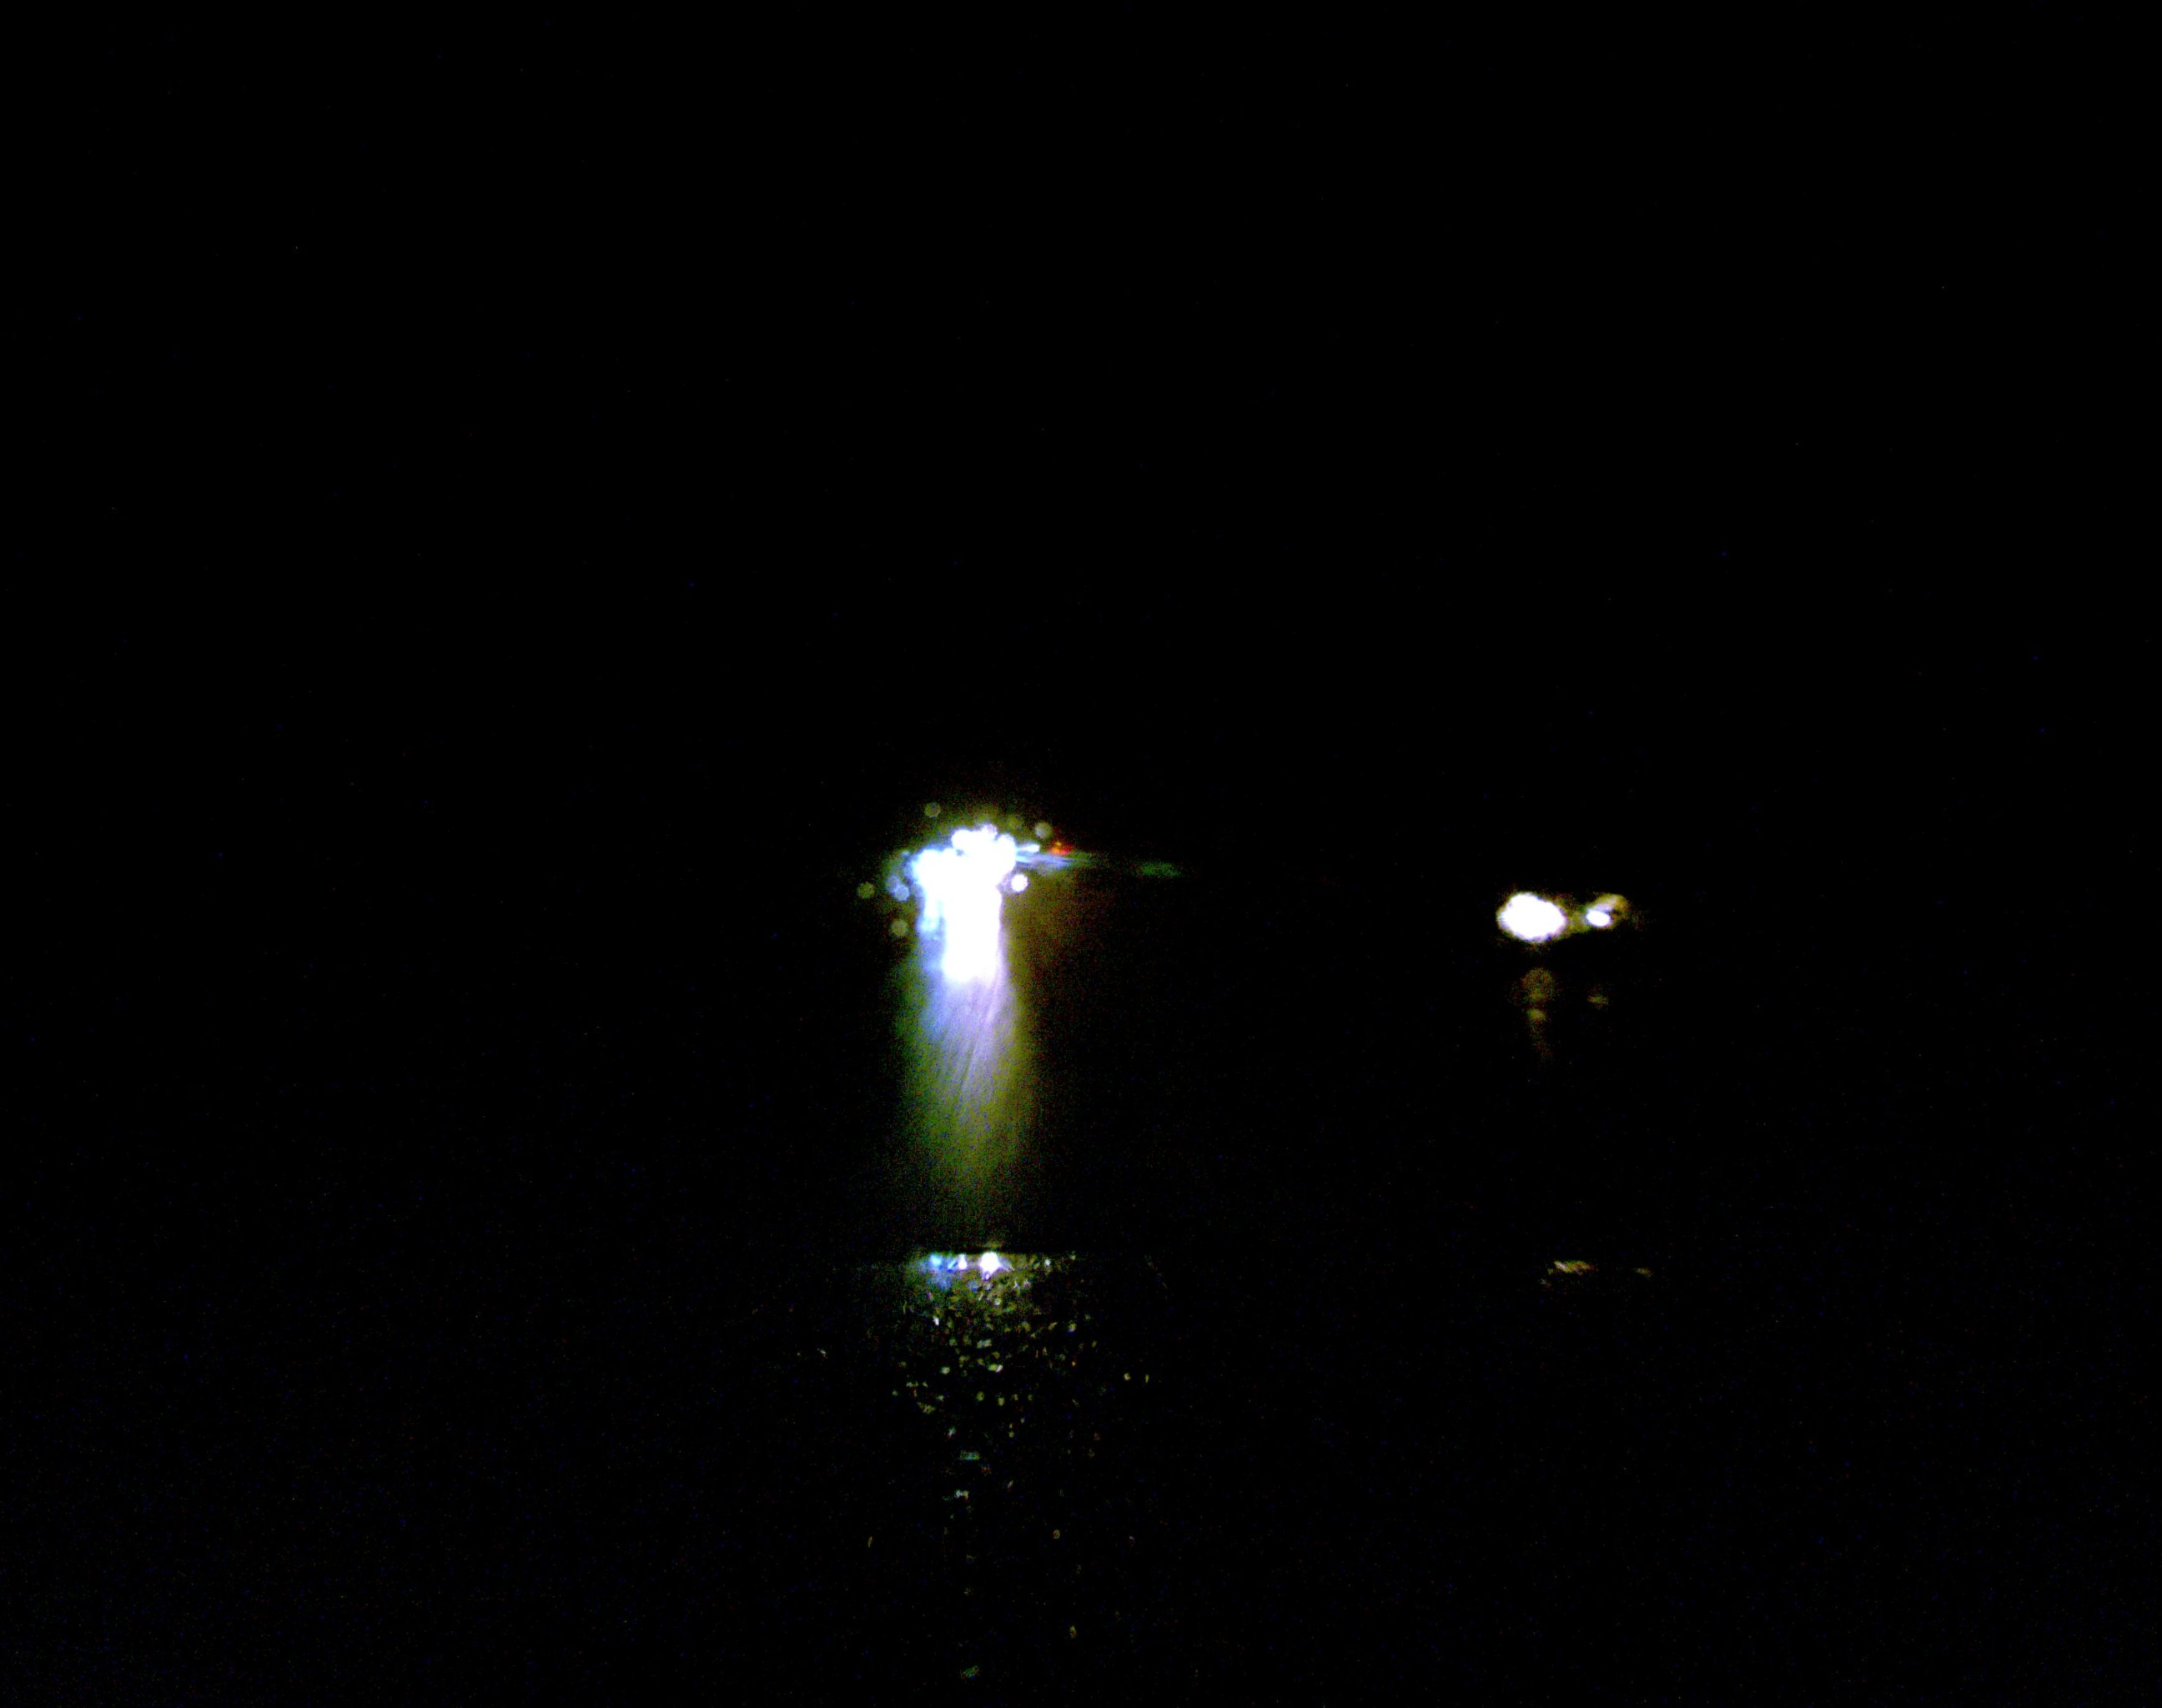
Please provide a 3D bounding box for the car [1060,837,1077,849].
[{"bbox_3d":[-2.192,-1.963,133.527,2.001,2.002,4.803,1,2,-12],"label":"car"}]

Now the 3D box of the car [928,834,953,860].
[{"bbox_3d":[-12.349,-0.613,66.701,2.000,2.001,3.997,-4,-1,-12],"label":"car"}]

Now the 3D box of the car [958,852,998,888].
[{"bbox_3d":[-5.253,0.780,38.651,1.894,1.603,3.996,1,2,-8],"label":"car"}]

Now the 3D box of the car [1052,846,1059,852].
[{"bbox_3d":[-7.138,-1.392,209.602,1.608,1.335,3.239,0,2,-9],"label":"car"}]

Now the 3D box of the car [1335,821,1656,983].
[{"bbox_3d":[6.271,0.606,12.208,1.757,2.093,4.455,2,1,-18],"label":"car"}]

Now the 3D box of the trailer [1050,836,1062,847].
[{"bbox_3d":[-8.039,-4.166,244.457,2.618,3.453,10.435,1,2,-8],"label":"trailer"}]
